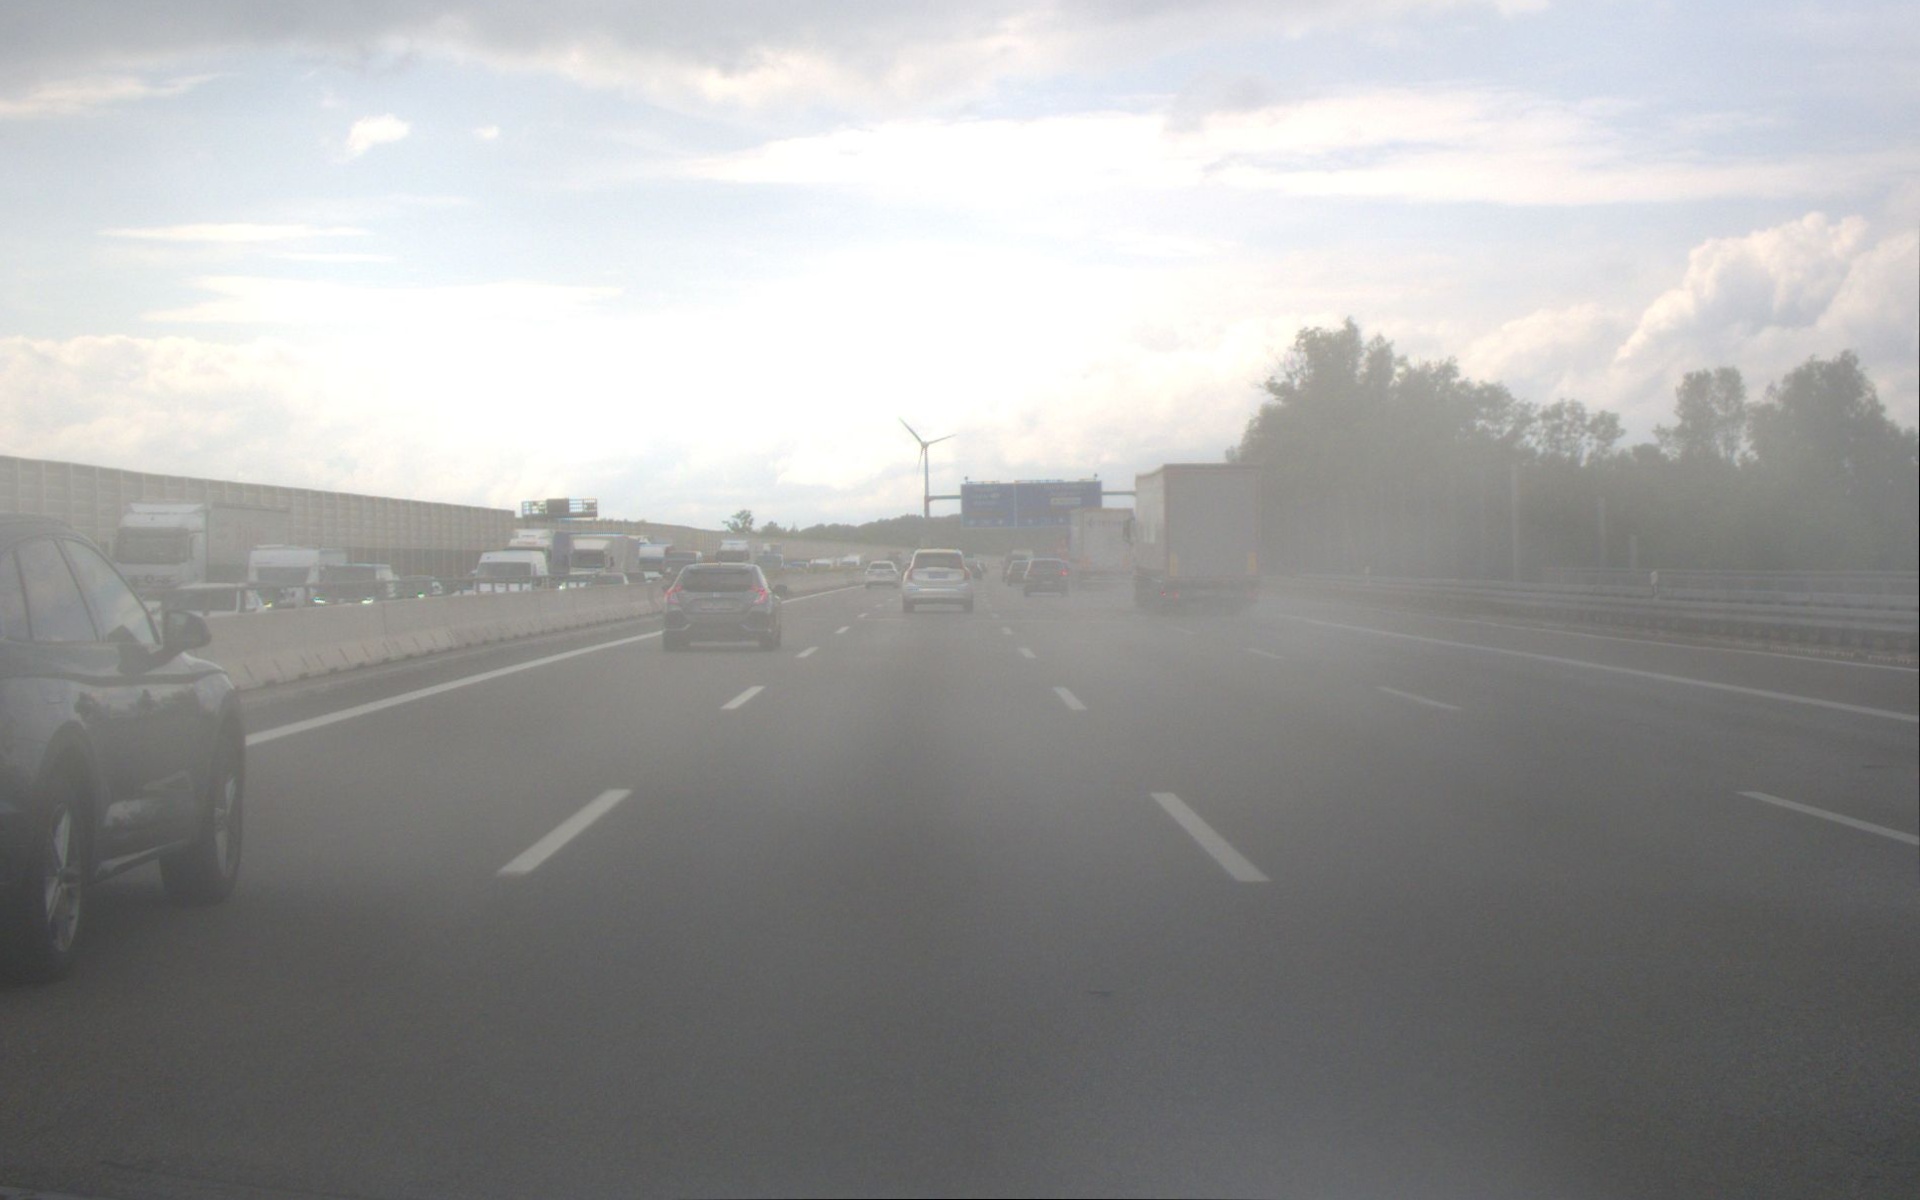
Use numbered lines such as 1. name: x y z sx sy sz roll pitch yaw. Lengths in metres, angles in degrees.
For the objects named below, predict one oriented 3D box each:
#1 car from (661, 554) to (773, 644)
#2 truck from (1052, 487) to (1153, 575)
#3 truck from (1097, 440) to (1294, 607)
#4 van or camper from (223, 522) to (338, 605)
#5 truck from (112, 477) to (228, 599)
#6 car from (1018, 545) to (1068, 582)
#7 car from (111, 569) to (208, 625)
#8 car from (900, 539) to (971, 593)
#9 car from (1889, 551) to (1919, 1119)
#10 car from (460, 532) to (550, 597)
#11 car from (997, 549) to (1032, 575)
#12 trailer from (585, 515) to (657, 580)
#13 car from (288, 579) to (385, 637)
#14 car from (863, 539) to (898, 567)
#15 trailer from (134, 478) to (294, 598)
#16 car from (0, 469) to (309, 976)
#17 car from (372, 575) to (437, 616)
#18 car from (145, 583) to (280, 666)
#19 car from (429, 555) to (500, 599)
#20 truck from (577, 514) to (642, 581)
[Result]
1. car: -3.974 -0.047 56.810 1.760 1.364 5.061 0 1 -3
2. truck: 7.081 -3.460 172.764 4.243 4.162 11.990 1 1 -1
3. truck: 6.407 -2.128 96.025 4.179 4.273 12.614 1 1 -2
4. van or camper: -22.371 -1.222 113.450 2.344 2.632 7.150 0 1 0
5. truck: -26.169 -2.056 114.056 2.576 3.921 5.177 1 1 0
6. car: 3.361 -1.509 139.948 1.835 1.436 4.056 0 1 -1
7. car: -22.671 -0.100 97.481 1.747 1.520 4.178 0 1 0
8. car: -0.711 -0.960 95.708 1.772 1.436 4.056 0 1 -3
9. car: 3.182 0.623 7.399 1.447 1.436 3.164 0 1 -1
10. car: -15.056 -1.196 114.089 2.159 2.064 6.014 0 1 0
11. car: 3.159 -2.230 199.302 1.835 1.436 4.056 0 1 -1
12. trailer: -21.423 -3.369 218.078 3.079 3.921 14.983 1 1 0
13. car: -18.957 0.226 104.741 2.079 1.653 4.802 0 1 0
14. car: -4.247 -2.539 183.606 1.772 1.436 3.874 0 1 -3
15. trailer: -26.149 -2.189 121.228 2.563 3.921 13.817 1 1 0
16. car: -4.064 0.371 13.991 1.908 1.685 5.169 0 1 -1
17. car: -22.602 -0.190 140.043 1.923 1.593 4.253 0 1 0
18. car: -14.804 0.463 68.286 1.747 1.520 4.178 0 1 0
19. car: -18.706 -0.897 129.950 1.923 1.593 5.096 0 1 0
20. truck: -21.415 -3.225 210.273 3.079 3.921 8.054 1 1 0
